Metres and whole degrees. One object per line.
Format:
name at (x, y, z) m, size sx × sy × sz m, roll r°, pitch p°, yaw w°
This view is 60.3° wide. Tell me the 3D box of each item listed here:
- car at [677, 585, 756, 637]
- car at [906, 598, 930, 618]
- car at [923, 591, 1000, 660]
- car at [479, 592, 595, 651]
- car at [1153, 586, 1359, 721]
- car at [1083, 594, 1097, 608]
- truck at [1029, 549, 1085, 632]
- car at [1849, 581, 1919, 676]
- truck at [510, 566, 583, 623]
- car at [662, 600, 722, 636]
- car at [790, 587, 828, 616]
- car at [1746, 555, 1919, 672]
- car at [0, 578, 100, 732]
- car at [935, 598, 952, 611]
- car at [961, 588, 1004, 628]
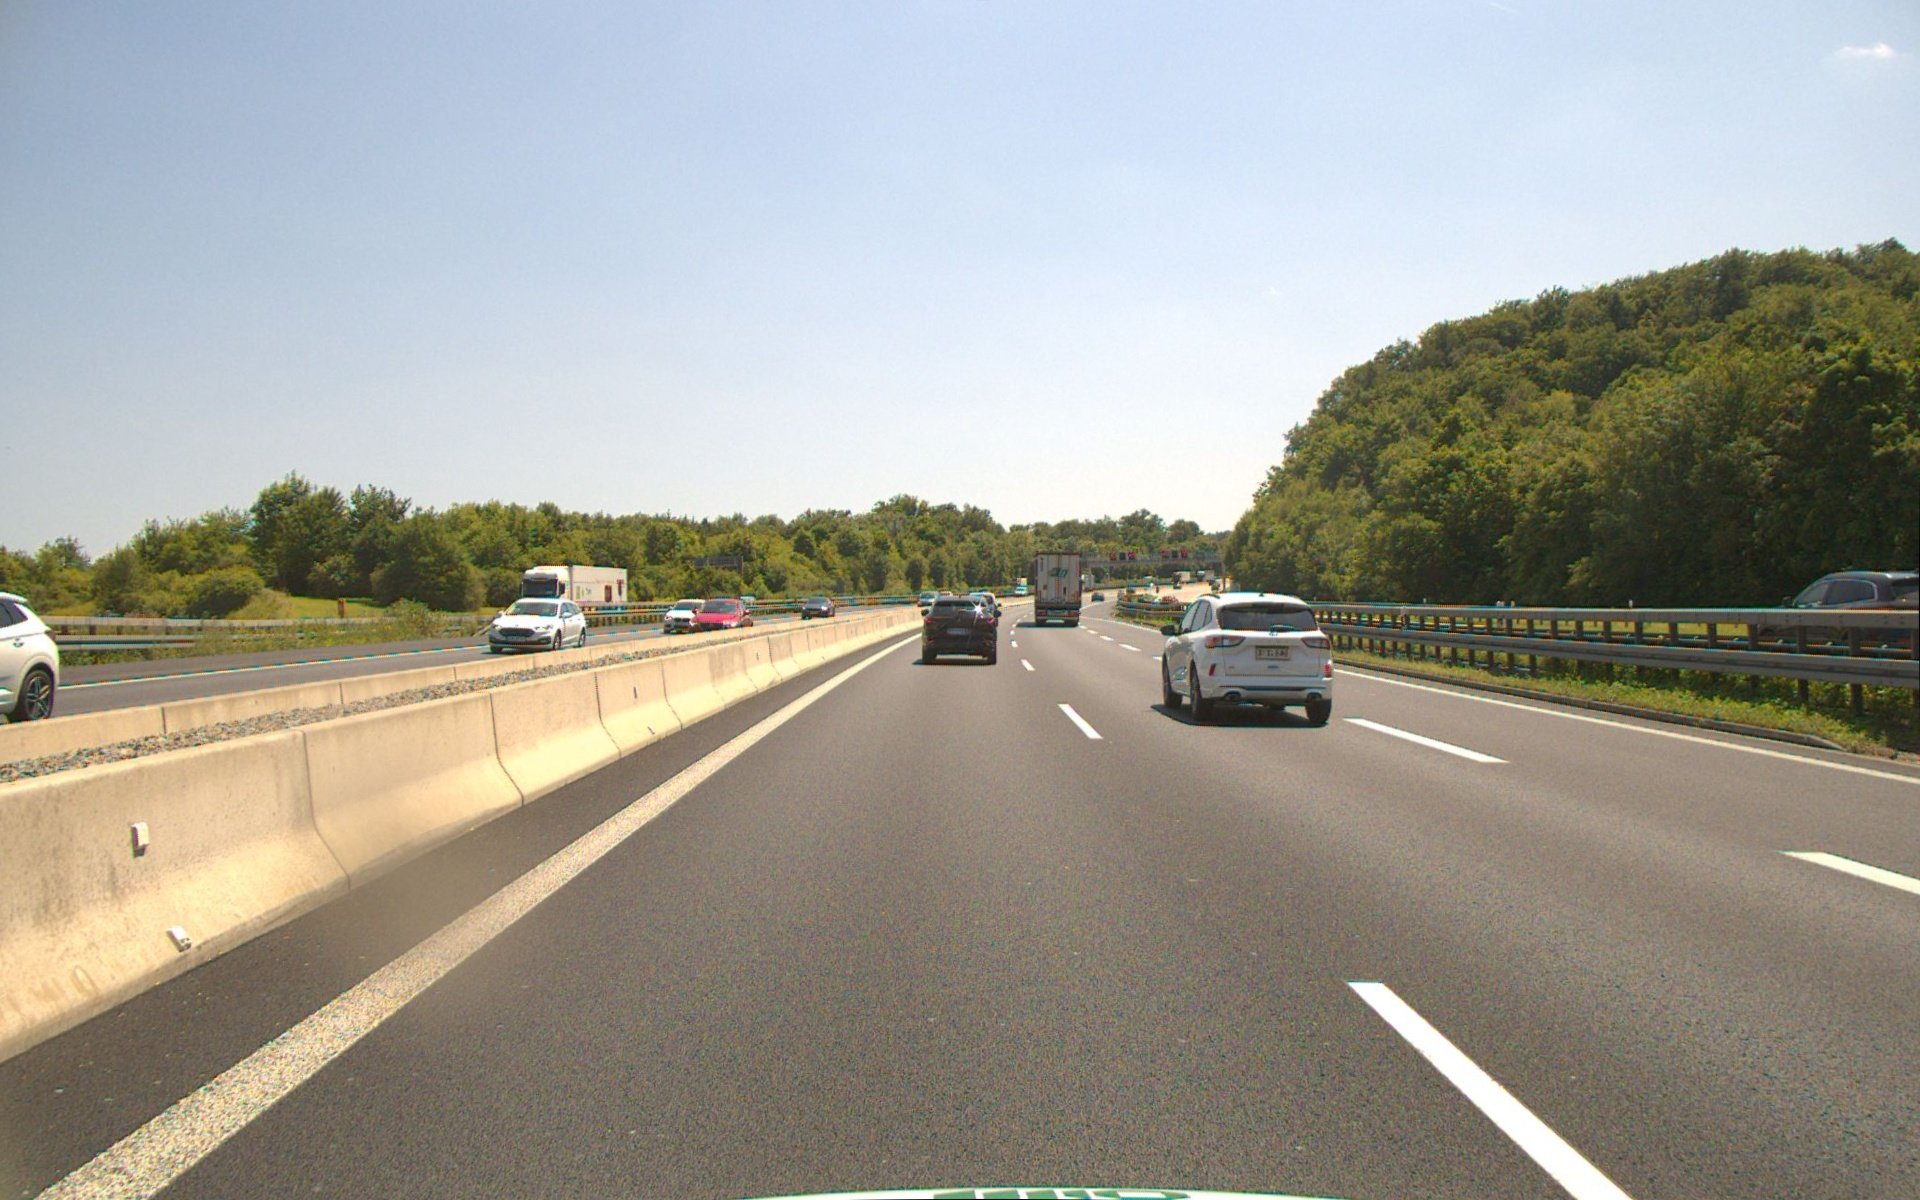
car at (-8.195, 0.371, 56.073) m, size 1.952 × 1.688 × 4.634 m, roll 0°, pitch -1°, yaw 1°
car at (-4.051, 0.772, 159.530) m, size 1.992 × 1.890 × 5.376 m, roll 0°, pitch -1°, yaw 2°
car at (-0.001, 0.609, 40.396) m, size 1.743 × 1.605 × 3.998 m, roll 0°, pitch -1°, yaw -2°
car at (-11.823, 0.589, 46.568) m, size 1.953 × 1.570 × 5.041 m, roll 0°, pitch -1°, yaw 0°
car at (3.969, 0.691, 22.948) m, size 1.953 × 1.691 × 4.466 m, roll 0°, pitch -1°, yaw -2°
car at (19.890, 0.138, 253.106) m, size 1.951 × 2.049 × 4.003 m, roll 0°, pitch -1°, yaw 6°
truck at (5.491, -0.443, 95.534) m, size 2.969 × 4.496 × 12.021 m, roll 0°, pitch -1°, yaw 2°
car at (18.085, 0.506, 29.028) m, size 1.954 × 1.691 × 5.224 m, roll 0°, pitch -1°, yaw -3°
truck at (-26.257, -0.327, 105.353) m, size 3.018 × 3.565 × 5.411 m, roll 0°, pitch -1°, yaw 3°
car at (-11.425, 0.754, 70.689) m, size 1.812 × 1.419 × 4.001 m, roll 1°, pitch 0°, yaw 1°
car at (-9.971, 0.126, 109.769) m, size 1.952 × 1.856 × 4.906 m, roll 0°, pitch -1°, yaw 1°
car at (14.713, 0.214, 25.800) m, size 1.954 × 1.691 × 5.622 m, roll 0°, pitch -1°, yaw -4°
car at (-11.475, 0.606, 17.918) m, size 1.830 × 1.695 × 4.663 m, roll 0°, pitch -1°, yaw 0°
car at (-2.032, 0.562, 204.624) m, size 1.750 × 1.660 × 4.932 m, roll 0°, pitch 0°, yaw 3°
car at (1.246, 0.421, 90.156) m, size 1.952 × 2.048 × 4.002 m, roll -3°, pitch 0°, yaw 5°
